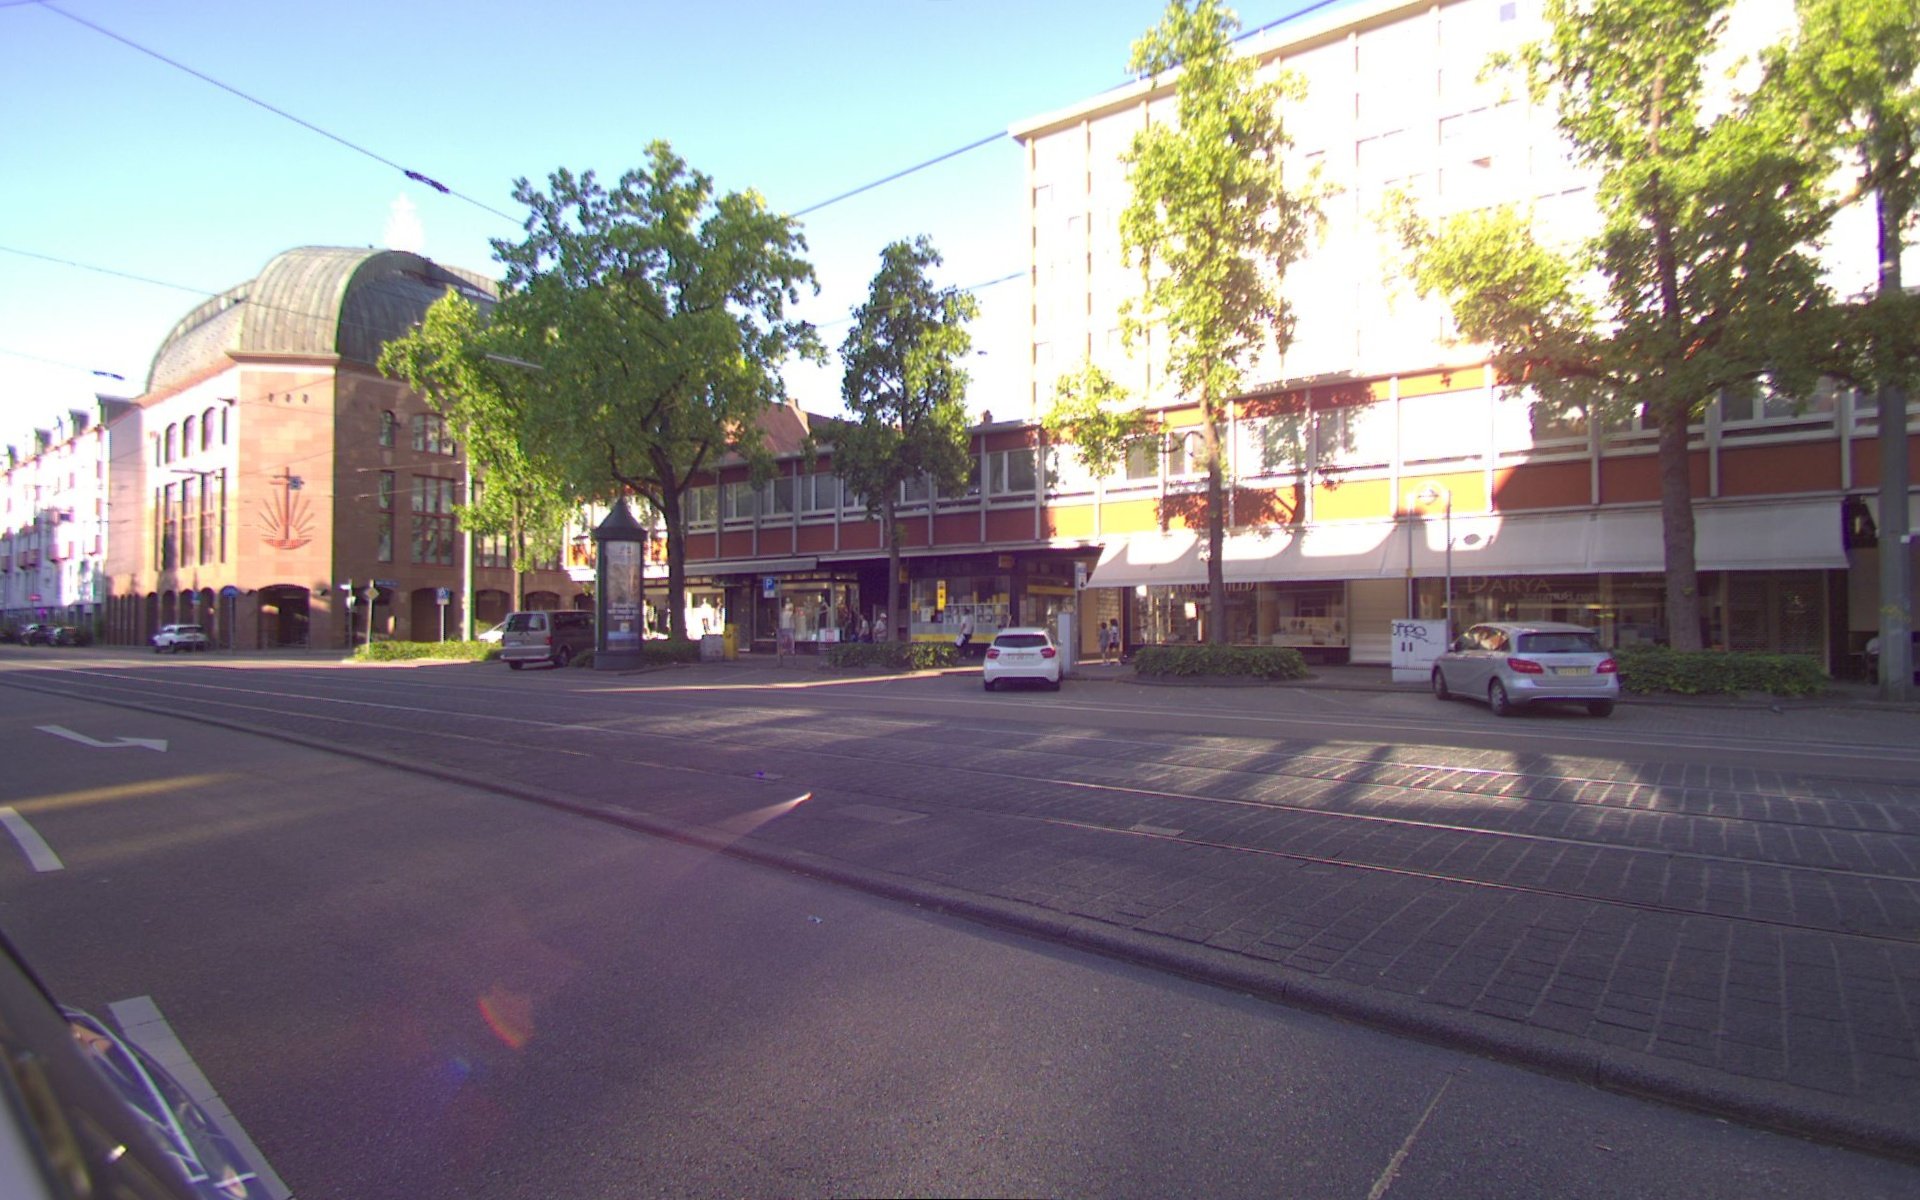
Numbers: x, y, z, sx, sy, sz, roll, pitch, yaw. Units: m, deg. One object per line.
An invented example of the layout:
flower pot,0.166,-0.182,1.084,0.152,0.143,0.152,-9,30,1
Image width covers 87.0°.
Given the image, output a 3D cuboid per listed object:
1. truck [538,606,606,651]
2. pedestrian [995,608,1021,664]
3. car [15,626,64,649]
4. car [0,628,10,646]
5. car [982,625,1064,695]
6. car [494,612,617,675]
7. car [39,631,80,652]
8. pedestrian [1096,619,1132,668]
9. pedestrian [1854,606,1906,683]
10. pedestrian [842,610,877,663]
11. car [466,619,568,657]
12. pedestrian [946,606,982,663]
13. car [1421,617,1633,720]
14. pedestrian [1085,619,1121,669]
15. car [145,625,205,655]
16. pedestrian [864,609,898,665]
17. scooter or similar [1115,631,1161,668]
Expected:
truck,-25.045,1.842,65.268,4.519,2.784,1.835,-1,-2,34
pedestrian,1.648,1.224,34.805,0.888,1.892,0.918,0,-2,3
car,-71.232,2.870,78.292,4.552,1.713,1.941,-1,-1,36
car,-86.084,3.292,89.893,4.555,1.520,1.807,-1,-1,38
car,1.615,1.394,24.722,1.745,1.440,4.261,-1,0,7
car,-14.023,1.448,35.475,1.831,1.943,5.112,0,0,6
car,-65.835,3.015,73.979,3.679,1.411,1.626,-1,-1,39
pedestrian,4.807,1.354,31.651,0.898,1.481,0.681,-1,-2,36
pedestrian,19.419,0.934,21.370,0.705,1.575,0.864,-2,-2,38
pedestrian,-3.662,1.321,36.926,0.898,1.892,0.908,-1,-2,36
car,-25.332,2.166,58.034,2.128,1.982,4.934,2,0,36
pedestrian,0.139,1.215,35.751,0.898,1.963,0.984,-1,-2,36
car,9.981,1.117,18.231,1.805,1.578,4.271,0,0,7
pedestrian,4.394,1.341,31.077,0.898,1.509,0.681,-1,-2,36
car,-44.728,2.259,57.644,4.269,1.602,1.581,-1,0,36
pedestrian,-2.732,1.282,35.035,0.903,1.892,0.903,1,-2,-26
scooter or similar,5.563,1.537,31.646,1.335,1.102,0.470,-1,-1,36
